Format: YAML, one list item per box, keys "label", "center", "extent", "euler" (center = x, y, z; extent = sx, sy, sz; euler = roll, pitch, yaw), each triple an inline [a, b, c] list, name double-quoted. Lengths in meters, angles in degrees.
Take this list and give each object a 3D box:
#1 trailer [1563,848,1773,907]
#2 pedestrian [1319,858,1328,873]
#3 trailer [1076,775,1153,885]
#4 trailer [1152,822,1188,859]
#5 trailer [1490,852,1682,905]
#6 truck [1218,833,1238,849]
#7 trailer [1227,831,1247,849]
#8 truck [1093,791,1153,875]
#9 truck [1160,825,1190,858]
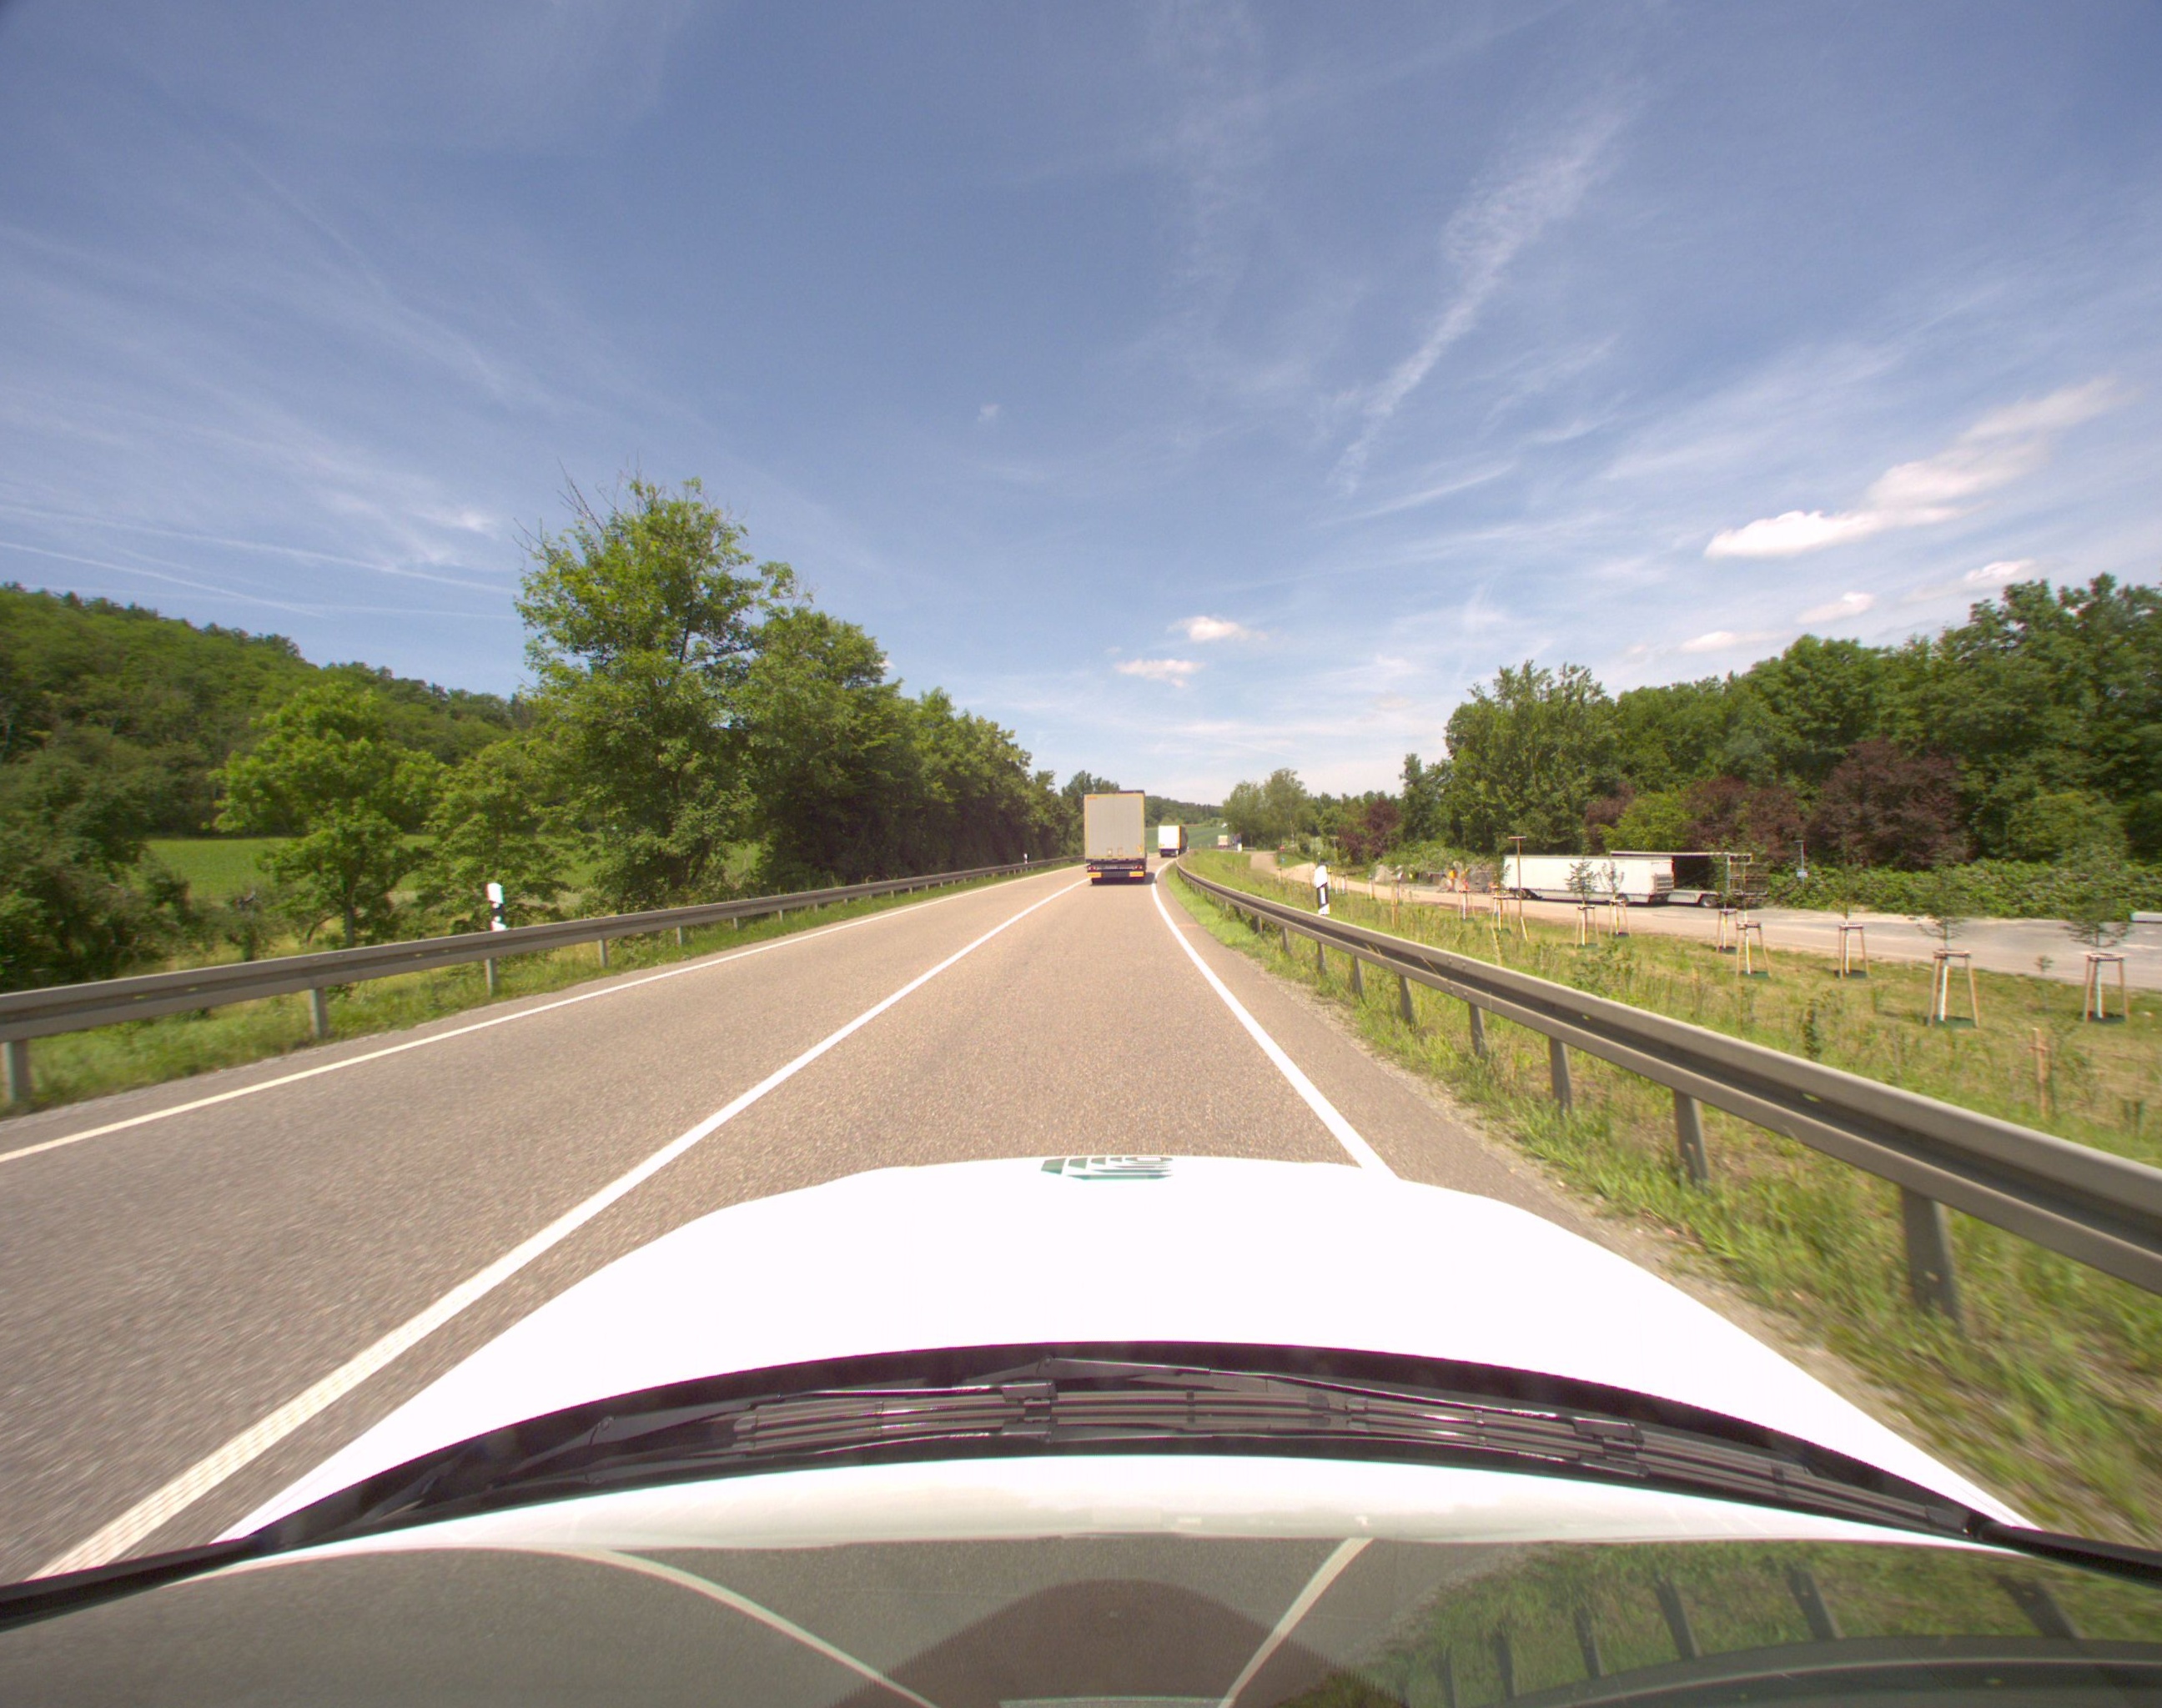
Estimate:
- label: "trailer"
  center: [39.203, 1.398, 55.221]
  extent: [2.731, 3.606, 11.799]
  euler: [0, 0, -24]
- label: "pedestrian"
  center: [30.886, 1.438, 103.745]
  extent: [0.881, 1.810, 0.960]
  euler: [-4, 0, 2]
- label: "trailer"
  center: [1.958, -1.053, 40.642]
  extent: [3.104, 4.499, 13.904]
  euler: [-1, 1, 5]
- label: "trailer"
  center: [11.555, -1.624, 104.490]
  extent: [3.343, 4.317, 13.907]
  euler: [-1, 0, 11]
- label: "trailer"
  center: [34.898, 1.526, 57.196]
  extent: [2.733, 3.327, 11.792]
  euler: [-1, 1, -26]
- label: "truck"
  center: [33.705, -2.842, 186.416]
  extent: [3.198, 3.365, 11.926]
  euler: [-1, 0, 16]
- label: "trailer"
  center: [39.860, -3.612, 207.482]
  extent: [3.619, 4.263, 12.249]
  euler: [-1, 0, 17]
- label: "truck"
  center: [2.576, -1.154, 47.502]
  extent: [3.103, 4.494, 6.821]
  euler: [-1, 0, 5]
- label: "truck"
  center: [12.795, -1.614, 110.736]
  extent: [3.343, 4.317, 6.761]
  euler: [-1, 0, 11]
